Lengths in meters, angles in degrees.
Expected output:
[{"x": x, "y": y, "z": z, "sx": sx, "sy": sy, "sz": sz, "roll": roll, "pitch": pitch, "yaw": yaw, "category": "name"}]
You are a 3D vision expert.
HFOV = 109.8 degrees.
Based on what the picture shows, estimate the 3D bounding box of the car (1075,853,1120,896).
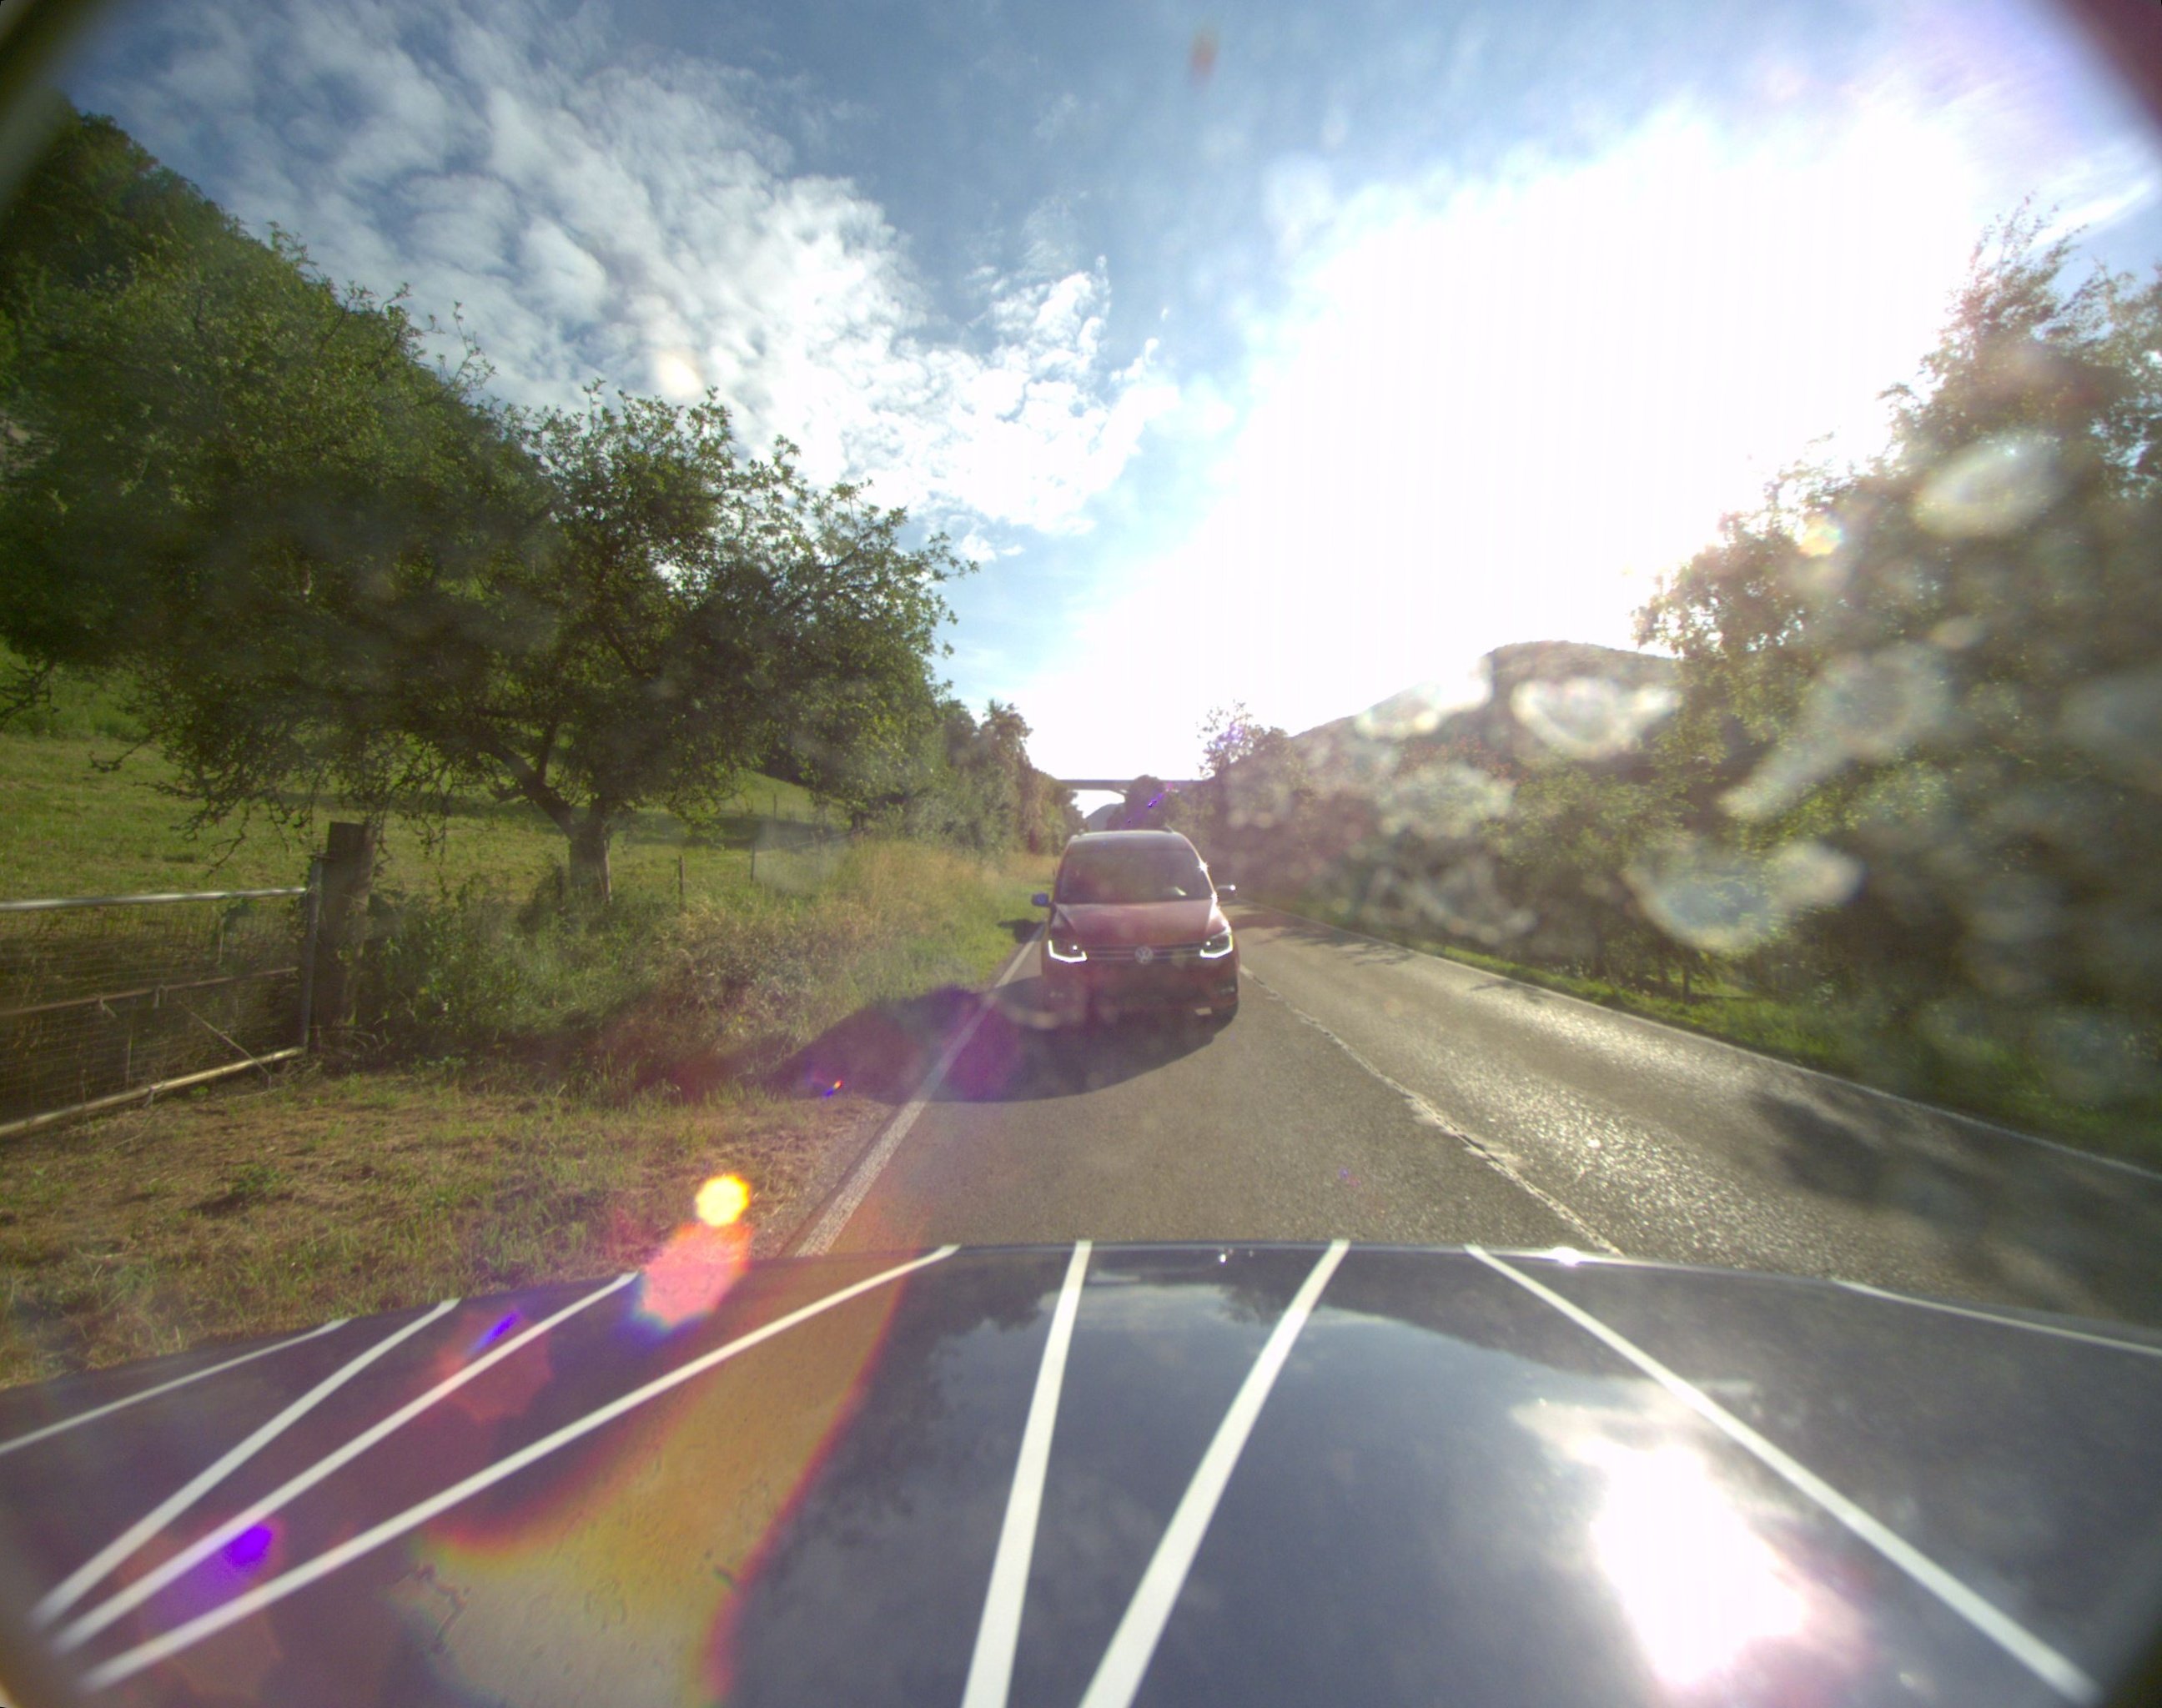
[{"x": 0.724, "y": 0.823, "z": 32.980, "sx": 1.753, "sy": 1.608, "sz": 4.288, "roll": -3, "pitch": 1, "yaw": 1, "category": "car"}]

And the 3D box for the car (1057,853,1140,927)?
[{"x": 0.434, "y": 0.786, "z": 18.913, "sx": 1.753, "sy": 1.513, "sz": 4.288, "roll": -3, "pitch": 1, "yaw": 1, "category": "car"}]

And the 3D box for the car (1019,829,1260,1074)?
[{"x": 0.499, "y": 0.733, "z": 7.965, "sx": 1.753, "sy": 1.799, "sz": 4.288, "roll": -3, "pitch": 1, "yaw": 1, "category": "car"}]
